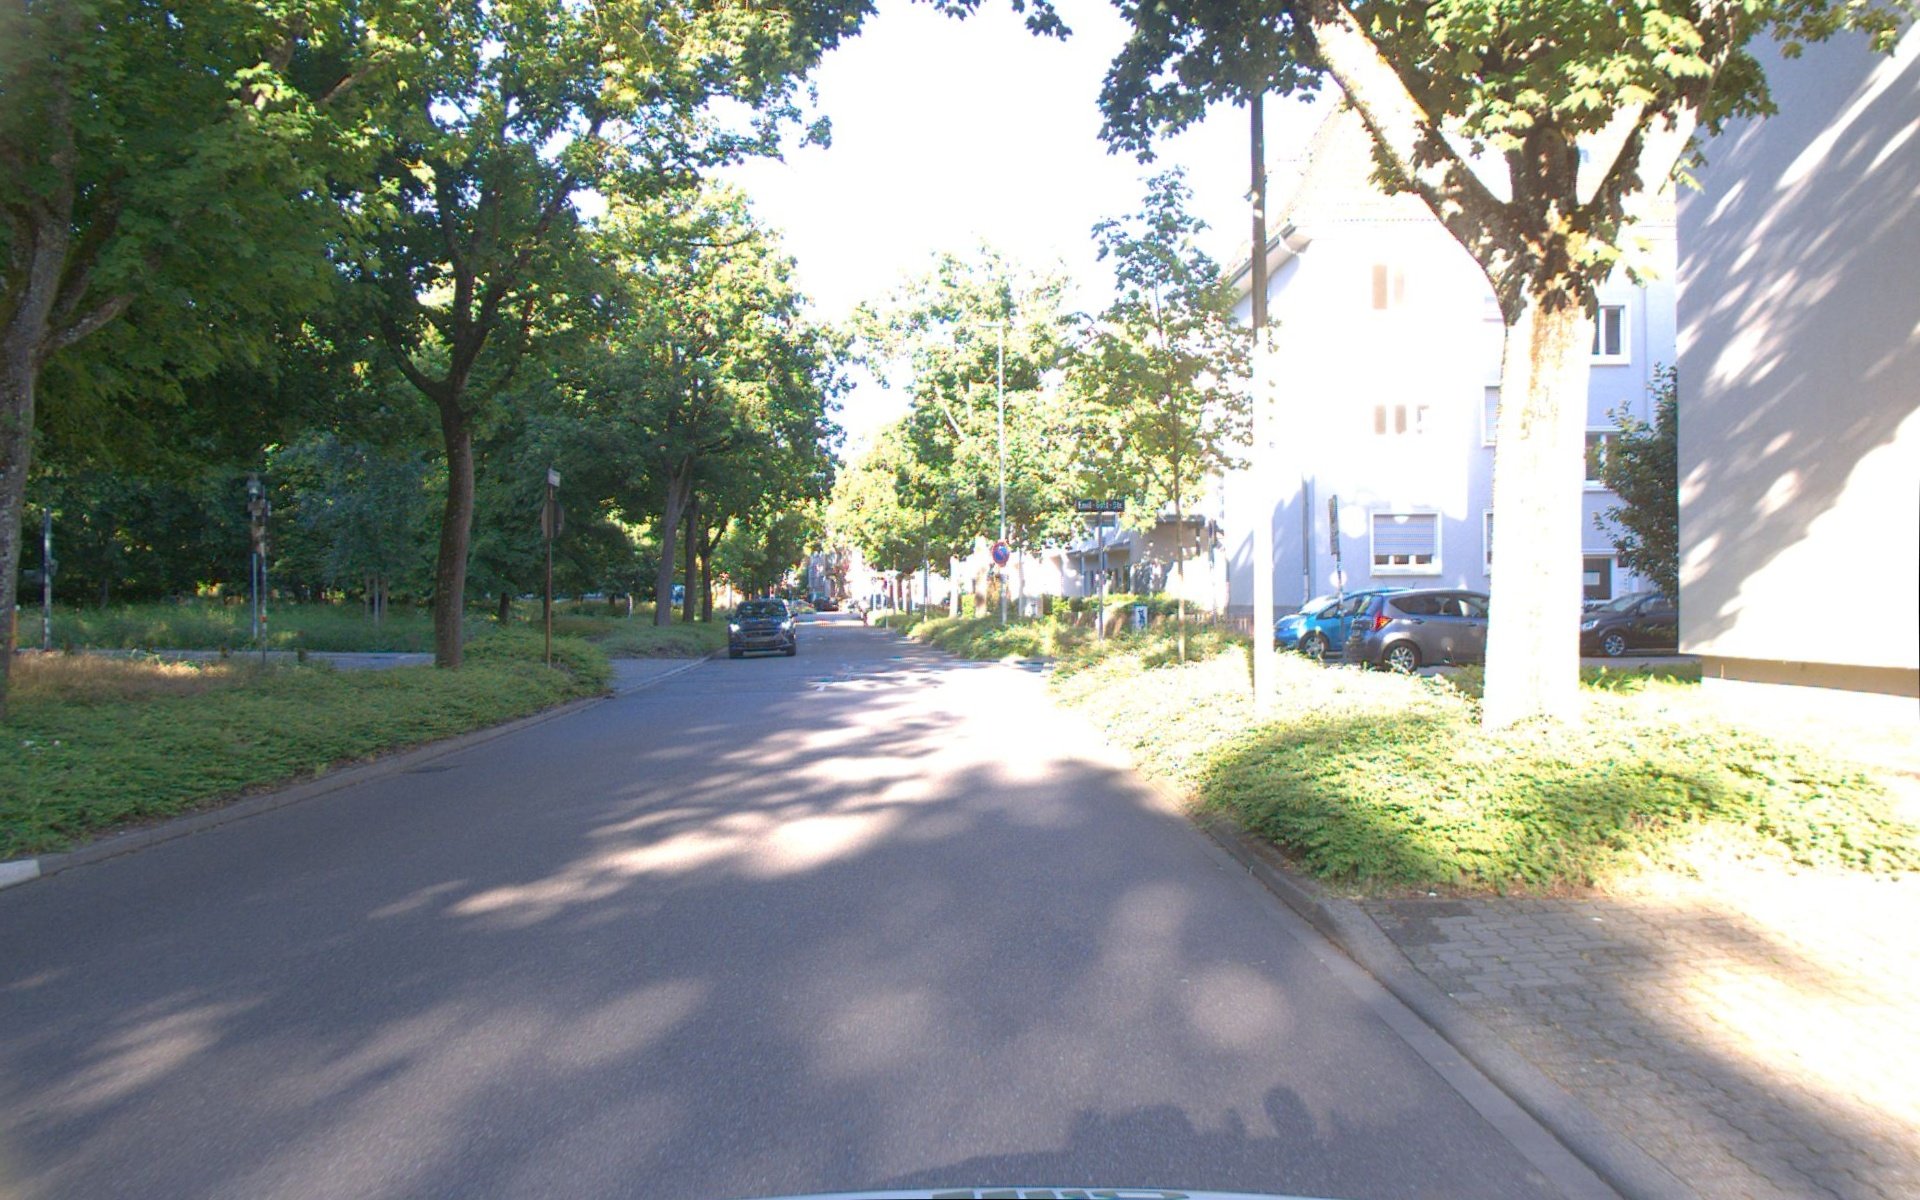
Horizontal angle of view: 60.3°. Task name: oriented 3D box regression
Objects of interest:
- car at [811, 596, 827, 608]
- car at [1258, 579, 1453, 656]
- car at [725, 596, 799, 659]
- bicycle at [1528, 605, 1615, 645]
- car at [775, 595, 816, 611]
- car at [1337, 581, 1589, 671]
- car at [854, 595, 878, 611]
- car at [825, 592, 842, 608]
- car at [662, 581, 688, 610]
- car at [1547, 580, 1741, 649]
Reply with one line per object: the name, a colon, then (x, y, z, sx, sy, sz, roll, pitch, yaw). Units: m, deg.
car: (-18.133, 0.220, 212.829, 1.778, 1.527, 3.992, 1, 0, -9)
car: (8.877, 0.374, 37.250, 3.910, 1.609, 1.808, -1, 1, -6)
car: (-5.480, 0.732, 46.296, 1.808, 1.606, 4.332, -2, 0, -4)
bicycle: (14.646, 0.601, 39.629, 1.924, 0.942, 0.482, 0, 1, -5)
car: (-16.695, 0.271, 167.430, 3.918, 1.527, 1.811, 1, 0, -13)
car: (8.908, 0.477, 29.487, 3.961, 1.541, 1.725, 0, -1, -5)
car: (-9.684, 0.288, 170.153, 1.780, 1.527, 3.987, -1, 0, -12)
car: (-15.176, 0.008, 198.390, 1.778, 1.959, 3.992, 1, 0, -9)
car: (-24.989, -0.380, 145.105, 1.960, 2.552, 3.985, 0, 0, -14)
car: (15.560, 0.323, 37.728, 3.748, 1.524, 1.647, 0, 0, -4)
